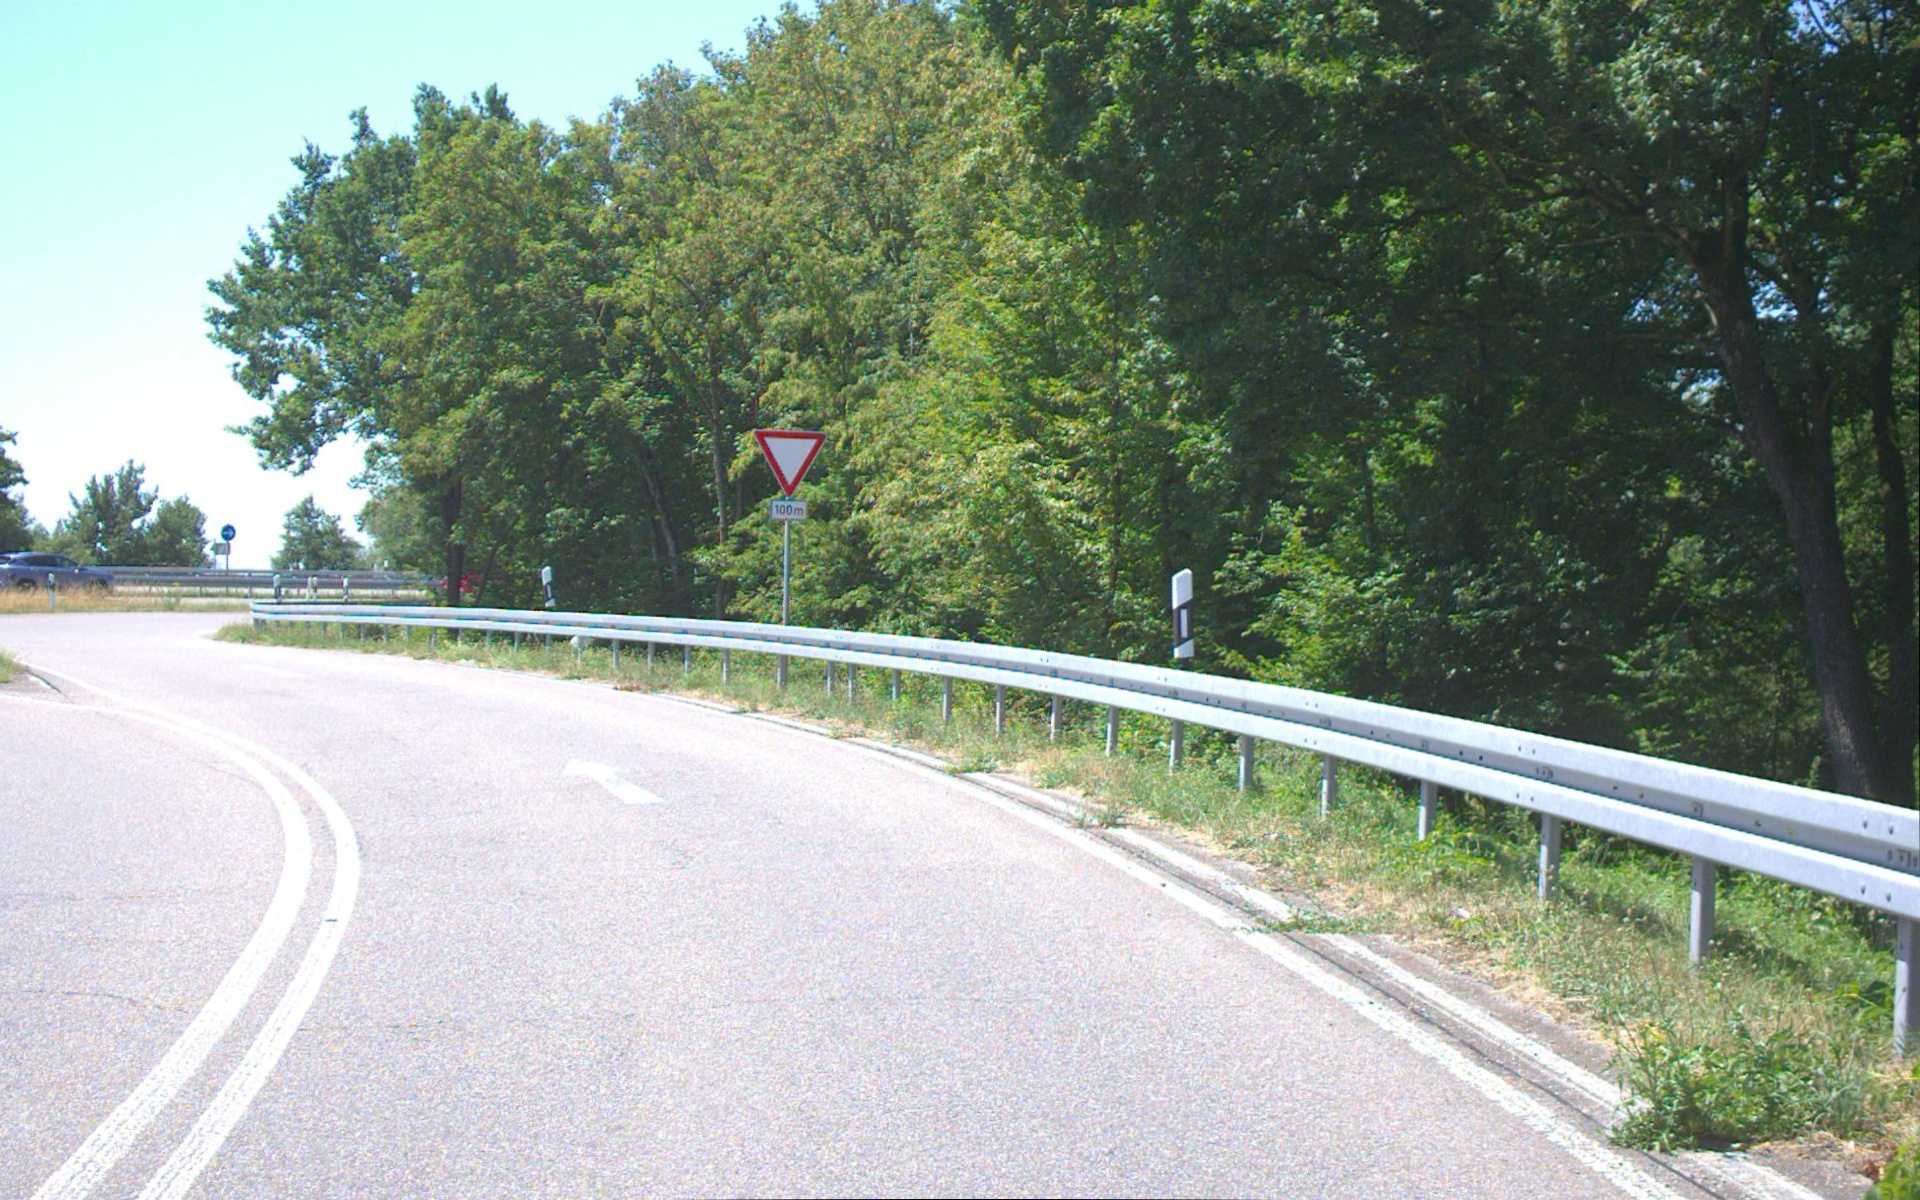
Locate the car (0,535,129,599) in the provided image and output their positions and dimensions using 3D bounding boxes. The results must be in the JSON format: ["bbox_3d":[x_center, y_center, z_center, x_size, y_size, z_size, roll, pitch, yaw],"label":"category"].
[{"bbox_3d":[-30.393,-1.091,115.152,4.516,1.921,1.999,3,-2,-42],"label":"car"}]
